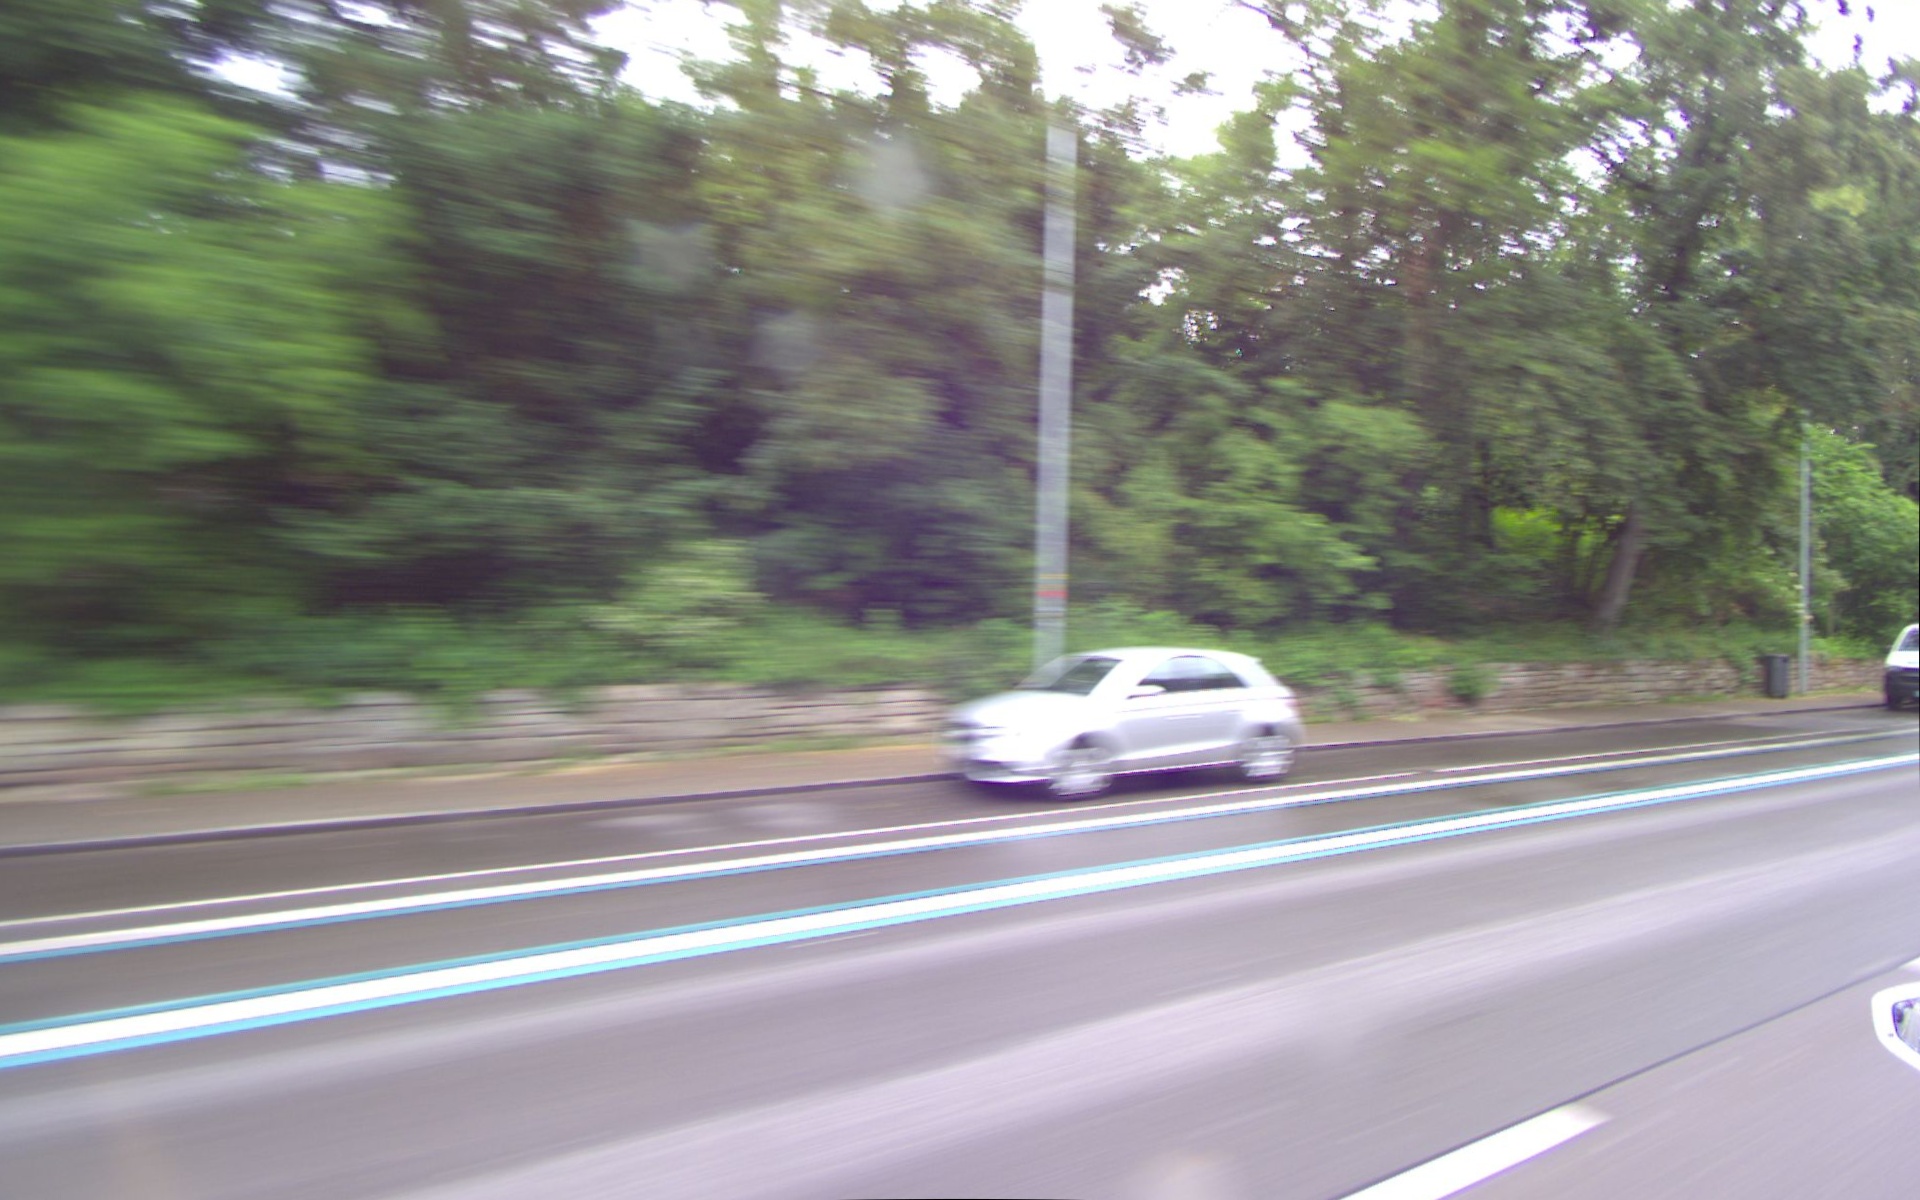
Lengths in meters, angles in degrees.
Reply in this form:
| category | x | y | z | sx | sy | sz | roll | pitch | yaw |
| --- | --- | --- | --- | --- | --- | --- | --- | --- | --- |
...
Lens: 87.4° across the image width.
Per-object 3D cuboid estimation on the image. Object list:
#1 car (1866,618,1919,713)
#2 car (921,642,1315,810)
| category | x | y | z | sx | sy | sz | roll | pitch | yaw |
| --- | --- | --- | --- | --- | --- | --- | --- | --- | --- |
| car | 22.800 | 1.453 | 23.021 | 4.968 | 2.031 | 1.961 | 1 | 0 | -35 |
| car | 1.728 | 1.201 | 10.726 | 3.978 | 1.424 | 1.683 | 1 | 0 | -29 |
